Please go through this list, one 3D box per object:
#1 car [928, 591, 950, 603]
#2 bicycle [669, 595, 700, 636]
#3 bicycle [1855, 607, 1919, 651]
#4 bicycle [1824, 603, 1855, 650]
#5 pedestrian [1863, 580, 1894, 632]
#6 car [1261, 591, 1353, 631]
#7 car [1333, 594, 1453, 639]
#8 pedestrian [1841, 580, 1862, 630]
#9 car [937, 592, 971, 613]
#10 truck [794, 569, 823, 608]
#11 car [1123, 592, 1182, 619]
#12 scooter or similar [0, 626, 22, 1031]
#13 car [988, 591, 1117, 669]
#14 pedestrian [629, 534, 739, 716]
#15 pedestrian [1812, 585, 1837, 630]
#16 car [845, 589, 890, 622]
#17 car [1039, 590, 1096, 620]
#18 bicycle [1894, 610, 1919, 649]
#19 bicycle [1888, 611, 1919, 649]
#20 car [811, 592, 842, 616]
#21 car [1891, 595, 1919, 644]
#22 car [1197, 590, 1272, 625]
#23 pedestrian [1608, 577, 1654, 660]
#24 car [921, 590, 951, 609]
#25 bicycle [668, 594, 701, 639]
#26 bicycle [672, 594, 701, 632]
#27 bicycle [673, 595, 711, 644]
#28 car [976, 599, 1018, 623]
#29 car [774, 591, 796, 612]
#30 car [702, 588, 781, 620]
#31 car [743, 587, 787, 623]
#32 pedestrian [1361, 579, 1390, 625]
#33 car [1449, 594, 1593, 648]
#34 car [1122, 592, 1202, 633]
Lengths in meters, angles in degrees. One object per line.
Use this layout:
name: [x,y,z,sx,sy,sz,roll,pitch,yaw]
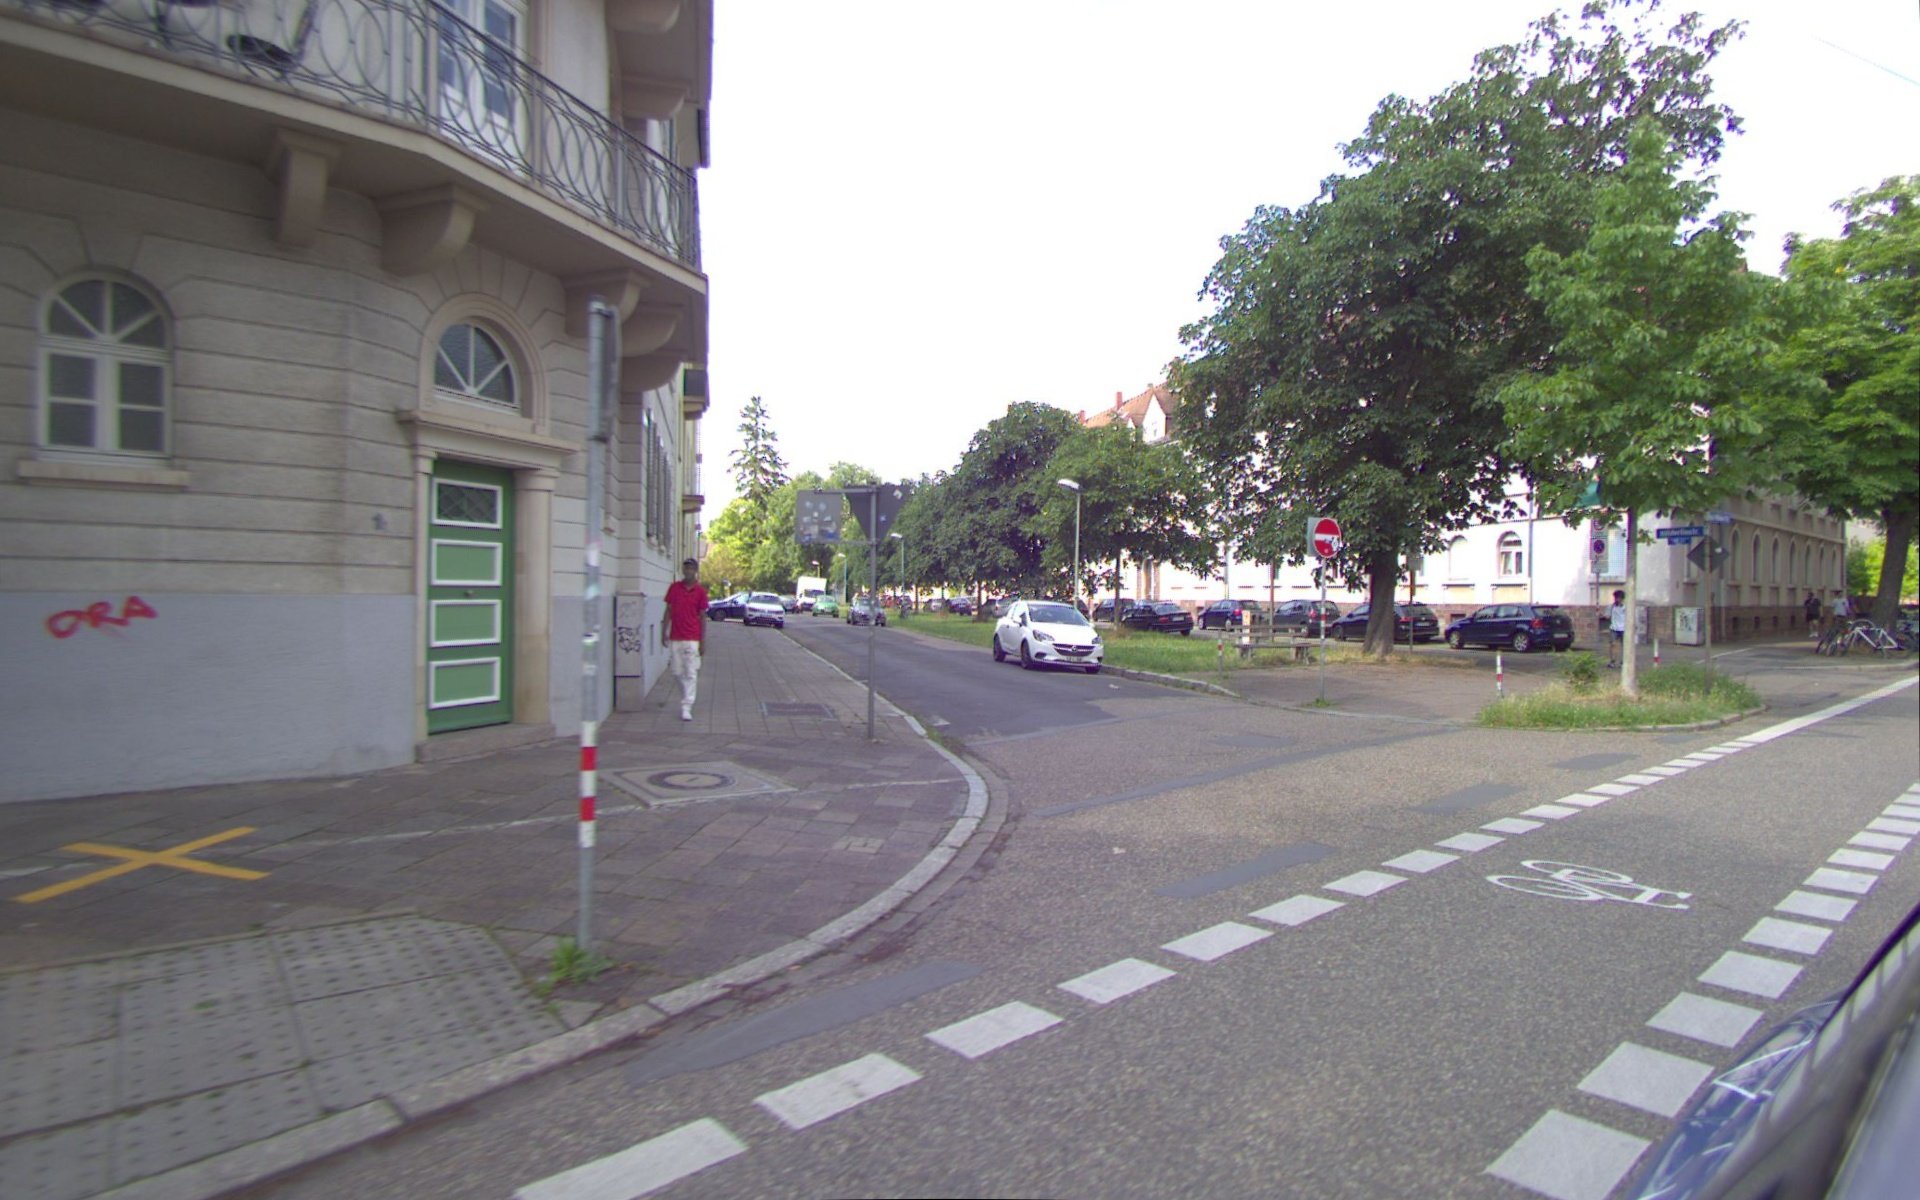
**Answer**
car: [-2.339,-0.368,113.149,1.695,1.368,3.940,0,1,-13]
bicycle: [-8.487,0.448,31.148,0.668,1.162,2.521,3,0,-20]
bicycle: [23.917,0.737,26.063,0.470,1.079,1.270,0,0,-40]
bicycle: [23.174,0.677,26.662,0.584,1.173,1.808,0,0,42]
pedestrian: [34.487,0.229,38.011,0.870,1.913,0.755,0,0,-41]
car: [14.091,0.424,41.346,1.695,1.530,3.940,0,1,-13]
car: [15.221,0.538,35.827,1.695,1.470,4.265,0,1,-13]
pedestrian: [34.001,0.179,38.592,0.675,1.876,0.505,0,0,-41]
car: [-0.471,0.178,77.670,1.613,1.515,4.008,-1,0,-15]
truck: [-12.393,-0.926,82.612,1.821,2.989,4.267,2,0,-14]
car: [10.468,0.279,55.357,1.695,1.368,3.940,0,1,-13]
scooter or similar: [-3.858,0.742,2.892,1.689,1.266,0.533,0,1,-40]
car: [1.943,0.608,22.403,1.694,1.517,3.627,2,0,-14]
pedestrian: [-3.130,0.277,11.590,0.885,1.961,0.977,3,-1,2]
pedestrian: [32.724,0.281,38.293,0.959,1.660,0.581,0,0,-41]
car: [-4.705,0.246,51.120,1.694,1.517,3.627,2,0,-14]
car: [5.586,0.246,53.090,1.613,1.515,4.008,-1,0,-15]
bicycle: [27.672,0.851,28.727,0.342,1.084,1.652,0,0,-36]
bicycle: [27.840,0.868,29.105,0.342,1.084,1.652,0,0,-36]
car: [-9.071,0.257,68.578,1.694,1.517,3.627,2,0,-14]
car: [30.779,0.586,31.968,3.830,1.463,1.588,0,1,-41]
car: [12.709,0.323,47.100,1.695,1.530,3.940,0,1,-13]
pedestrian: [15.322,0.404,23.113,1.012,1.857,0.619,0,0,-40]
car: [-2.076,-0.027,85.465,1.613,1.515,4.008,-1,0,-15]
bicycle: [-7.769,0.452,28.481,0.668,1.162,2.521,3,0,-20]
bicycle: [-9.140,0.404,33.757,0.668,1.162,2.521,3,0,-20]
bicycle: [-6.912,0.476,26.001,0.668,1.162,2.521,3,0,-20]
car: [2.393,0.699,66.101,1.613,1.515,4.008,-1,0,-15]
car: [-13.480,0.094,77.785,1.357,1.517,3.627,2,0,-14]
car: [-11.668,0.213,53.977,3.835,1.517,1.902,2,0,-20]
car: [-9.460,0.198,48.861,1.858,1.598,4.075,2,0,-14]
pedestrian: [17.036,0.091,41.511,0.810,1.857,0.732,0,0,-10]
car: [16.665,0.576,30.245,1.695,1.470,3.582,0,1,-17]
car: [8.364,0.485,42.269,1.696,1.530,3.940,-3,1,-13]
